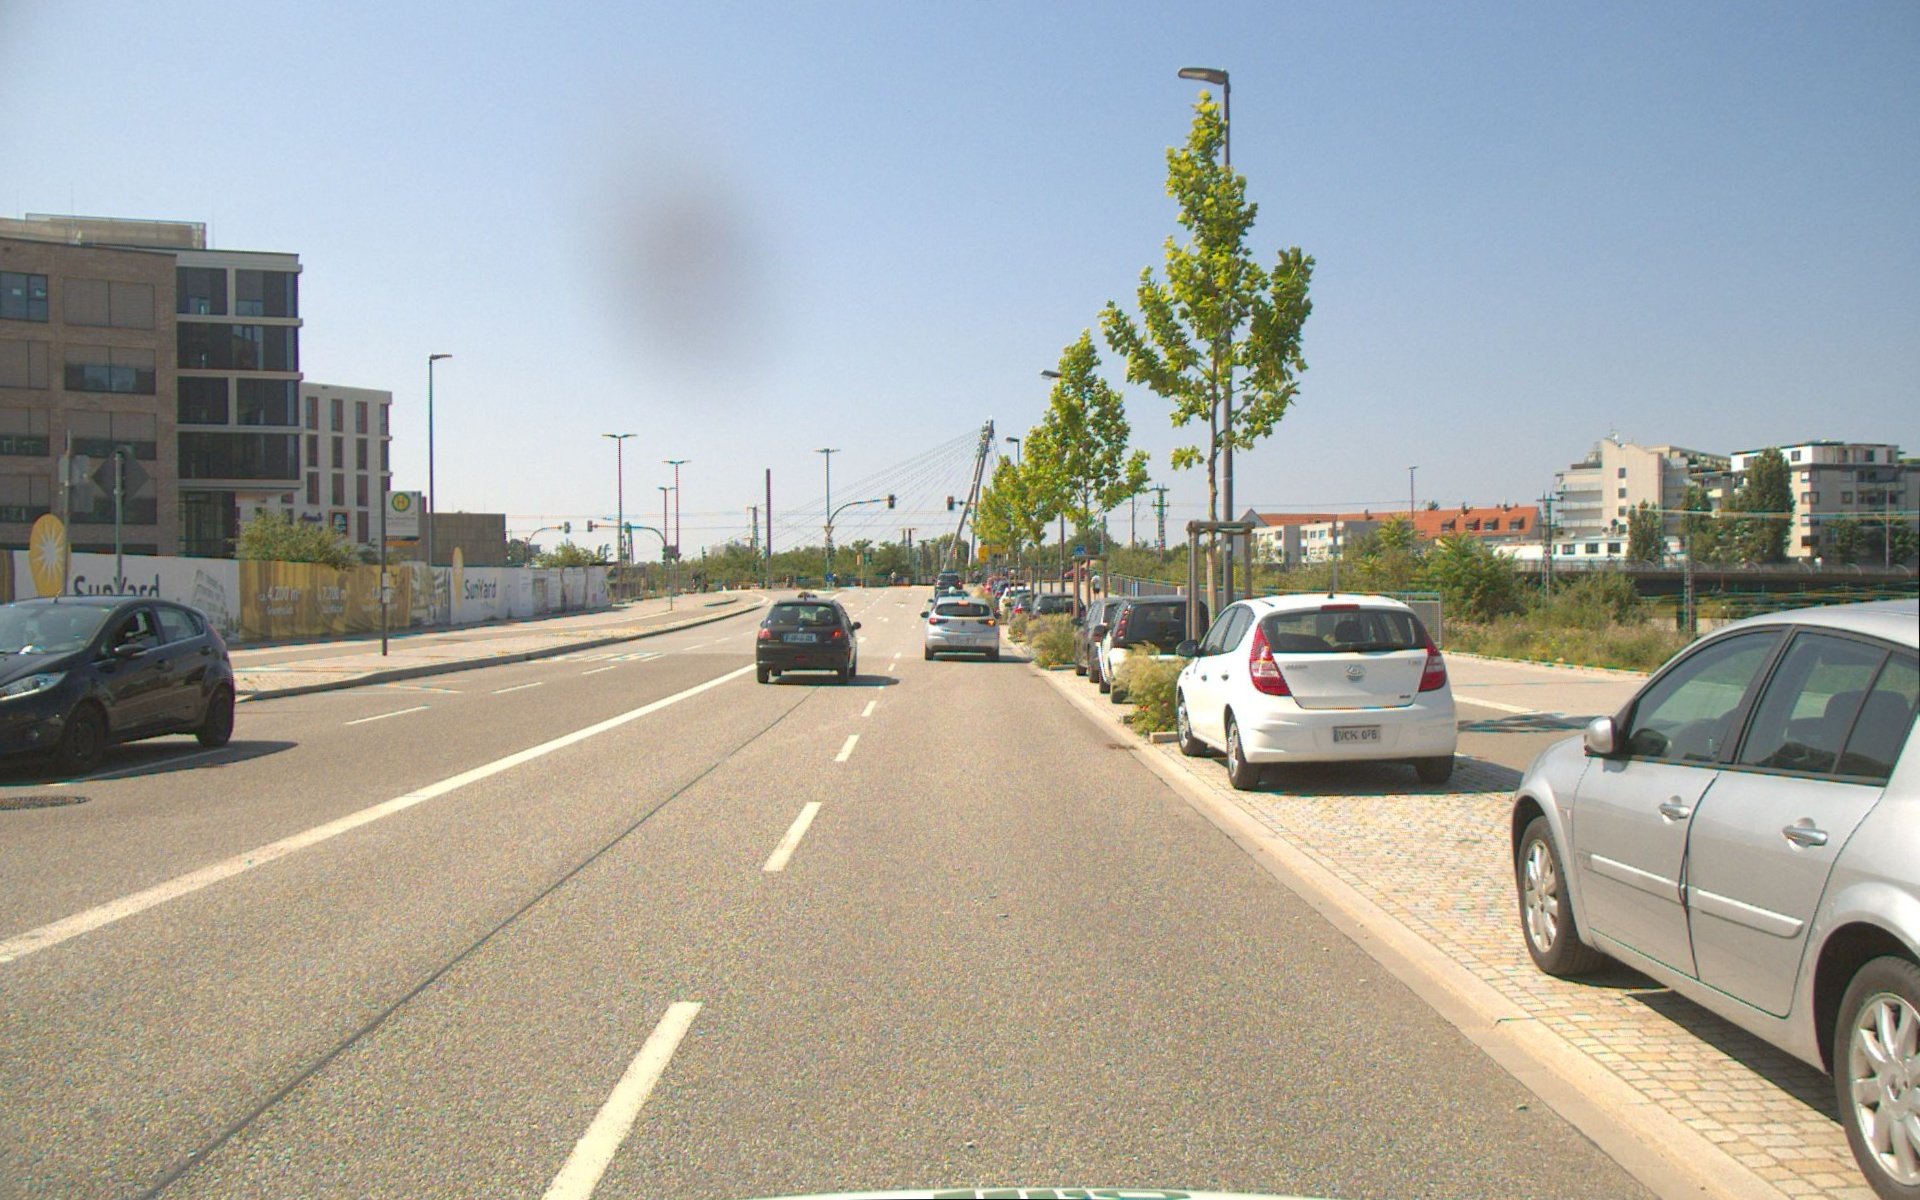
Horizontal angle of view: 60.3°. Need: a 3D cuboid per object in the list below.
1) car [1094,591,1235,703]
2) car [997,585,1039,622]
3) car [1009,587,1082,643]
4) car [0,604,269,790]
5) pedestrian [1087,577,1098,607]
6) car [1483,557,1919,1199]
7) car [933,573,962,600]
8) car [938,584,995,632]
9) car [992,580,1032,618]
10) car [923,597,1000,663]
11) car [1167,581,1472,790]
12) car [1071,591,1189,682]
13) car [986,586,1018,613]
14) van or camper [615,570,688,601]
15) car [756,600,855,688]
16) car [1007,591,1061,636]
[{"bbox_3d":[2.983,0.646,24.830,1.669,1.488,4.085,-1,0,1],"label":"car"},{"bbox_3d":[2.505,0.137,72.025,1.662,1.501,4.205,-2,1,0],"label":"car"},{"bbox_3d":[2.394,0.433,47.061,1.670,1.488,3.952,-2,-1,-3],"label":"car"},{"bbox_3d":[-7.813,0.738,14.494,1.669,1.376,4.455,-1,0,-1],"label":"car"},{"bbox_3d":[7.249,-0.420,90.340,0.522,1.603,0.524,1,-1,0],"label":"pedestrian"},{"bbox_3d":[3.203,0.628,5.287,1.869,1.505,4.159,-1,0,2],"label":"car"},{"bbox_3d":[-0.769,-0.883,103.850,1.742,1.596,4.000,0,1,0],"label":"car"},{"bbox_3d":[0.188,0.260,57.150,1.742,1.596,3.998,-1,0,-3],"label":"car"},{"bbox_3d":[2.436,-0.059,78.684,1.785,1.645,3.612,-2,1,1],"label":"car"},{"bbox_3d":[0.039,0.680,39.685,1.741,1.467,4.000,1,0,0],"label":"car"},{"bbox_3d":[2.936,0.626,14.331,1.710,1.535,4.000,-1,0,-1],"label":"car"},{"bbox_3d":[3.042,0.615,30.280,1.669,1.488,3.953,-2,1,-1],"label":"car"},{"bbox_3d":[2.443,-0.052,96.767,1.742,1.530,4.000,-1,1,0],"label":"car"},{"bbox_3d":[-21.101,-0.977,113.274,1.965,1.930,4.688,0,-1,42],"label":"van or camper"},{"bbox_3d":[-2.711,0.741,29.662,1.587,1.441,3.725,-1,0,-3],"label":"car"},{"bbox_3d":[2.495,0.444,56.434,1.669,1.426,4.270,-2,0,1],"label":"car"}]
